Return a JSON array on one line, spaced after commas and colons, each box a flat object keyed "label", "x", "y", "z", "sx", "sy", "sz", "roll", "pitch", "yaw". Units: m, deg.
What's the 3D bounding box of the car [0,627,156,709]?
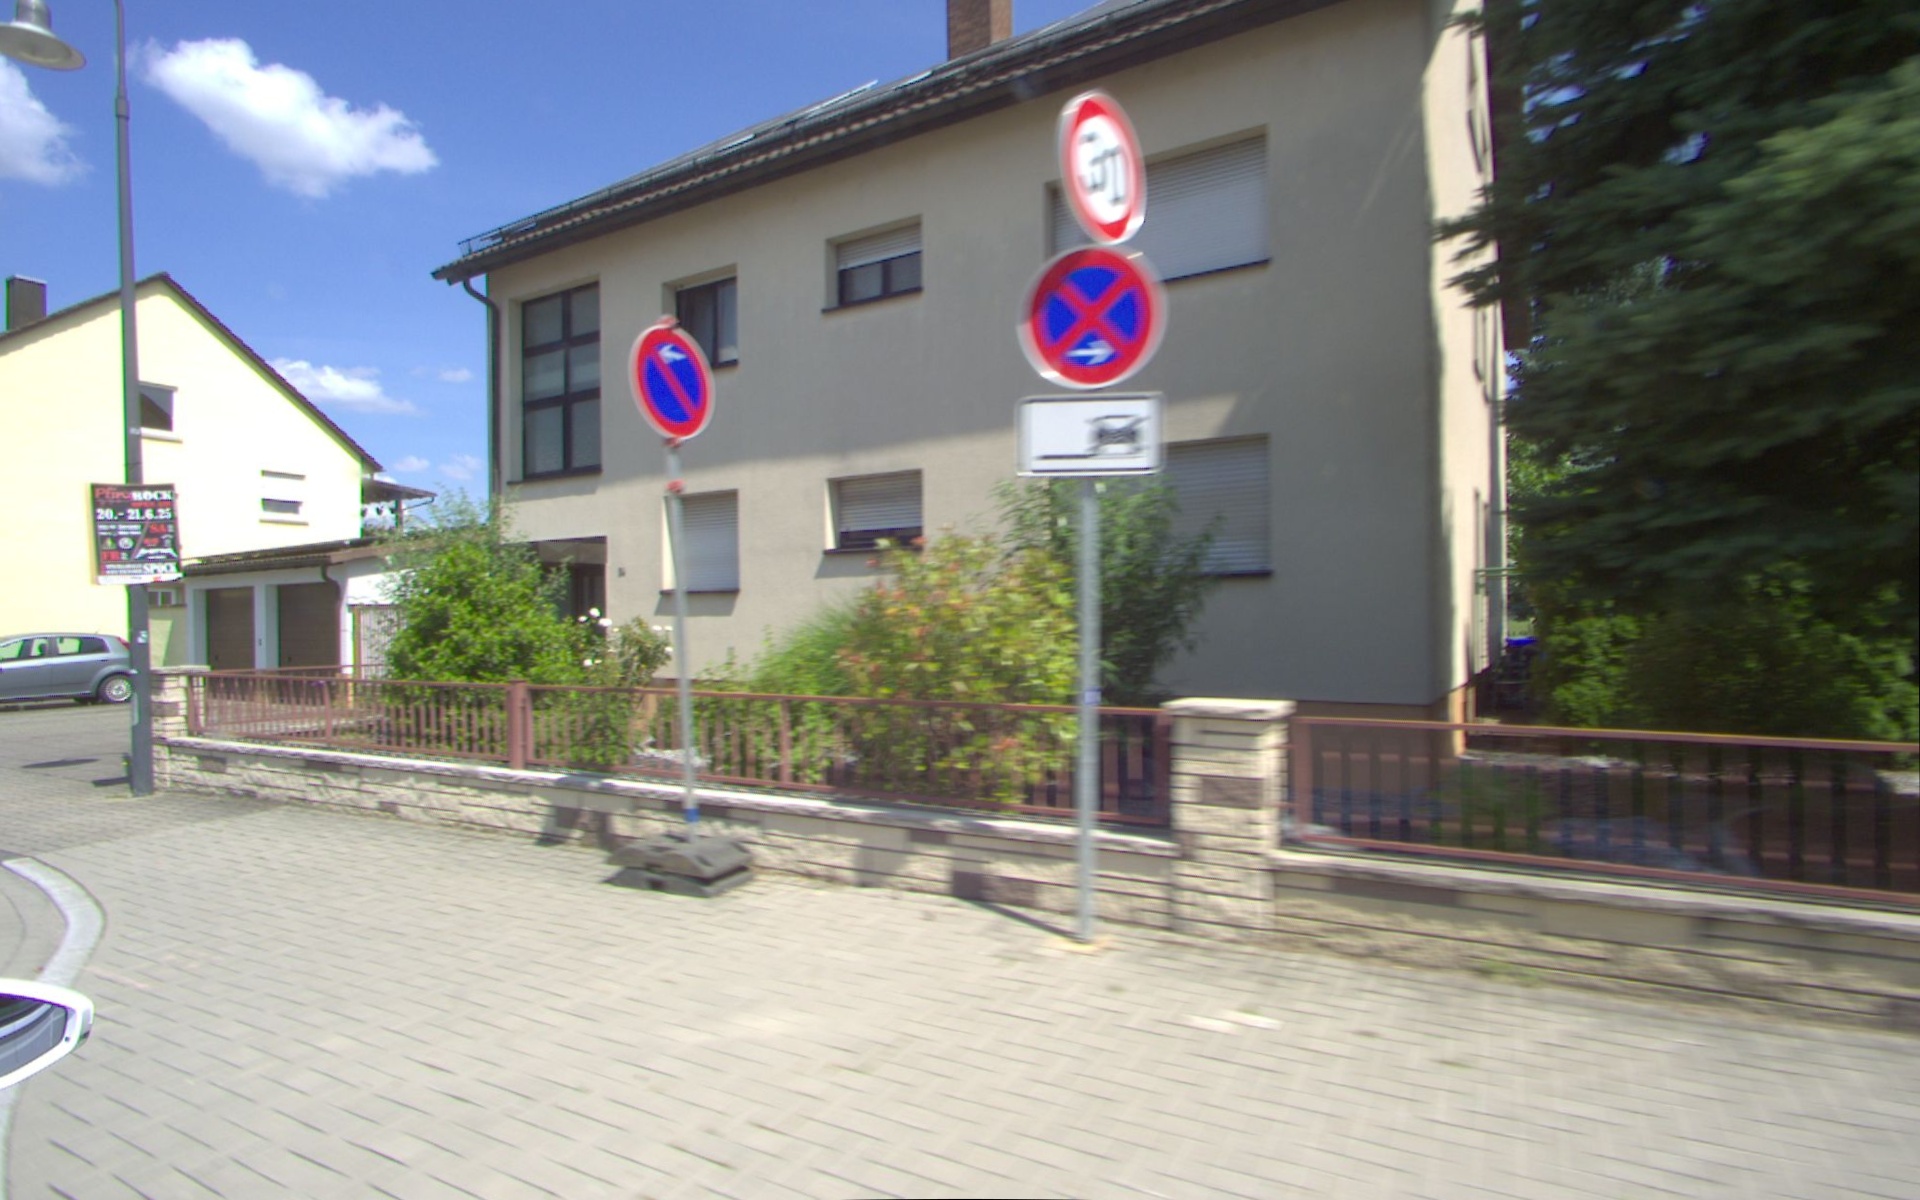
[{"label": "car", "x": -18.343, "y": 1.306, "z": 19.397, "sx": 1.721, "sy": 1.492, "sz": 3.981, "roll": -1, "pitch": -1, "yaw": 30}]
